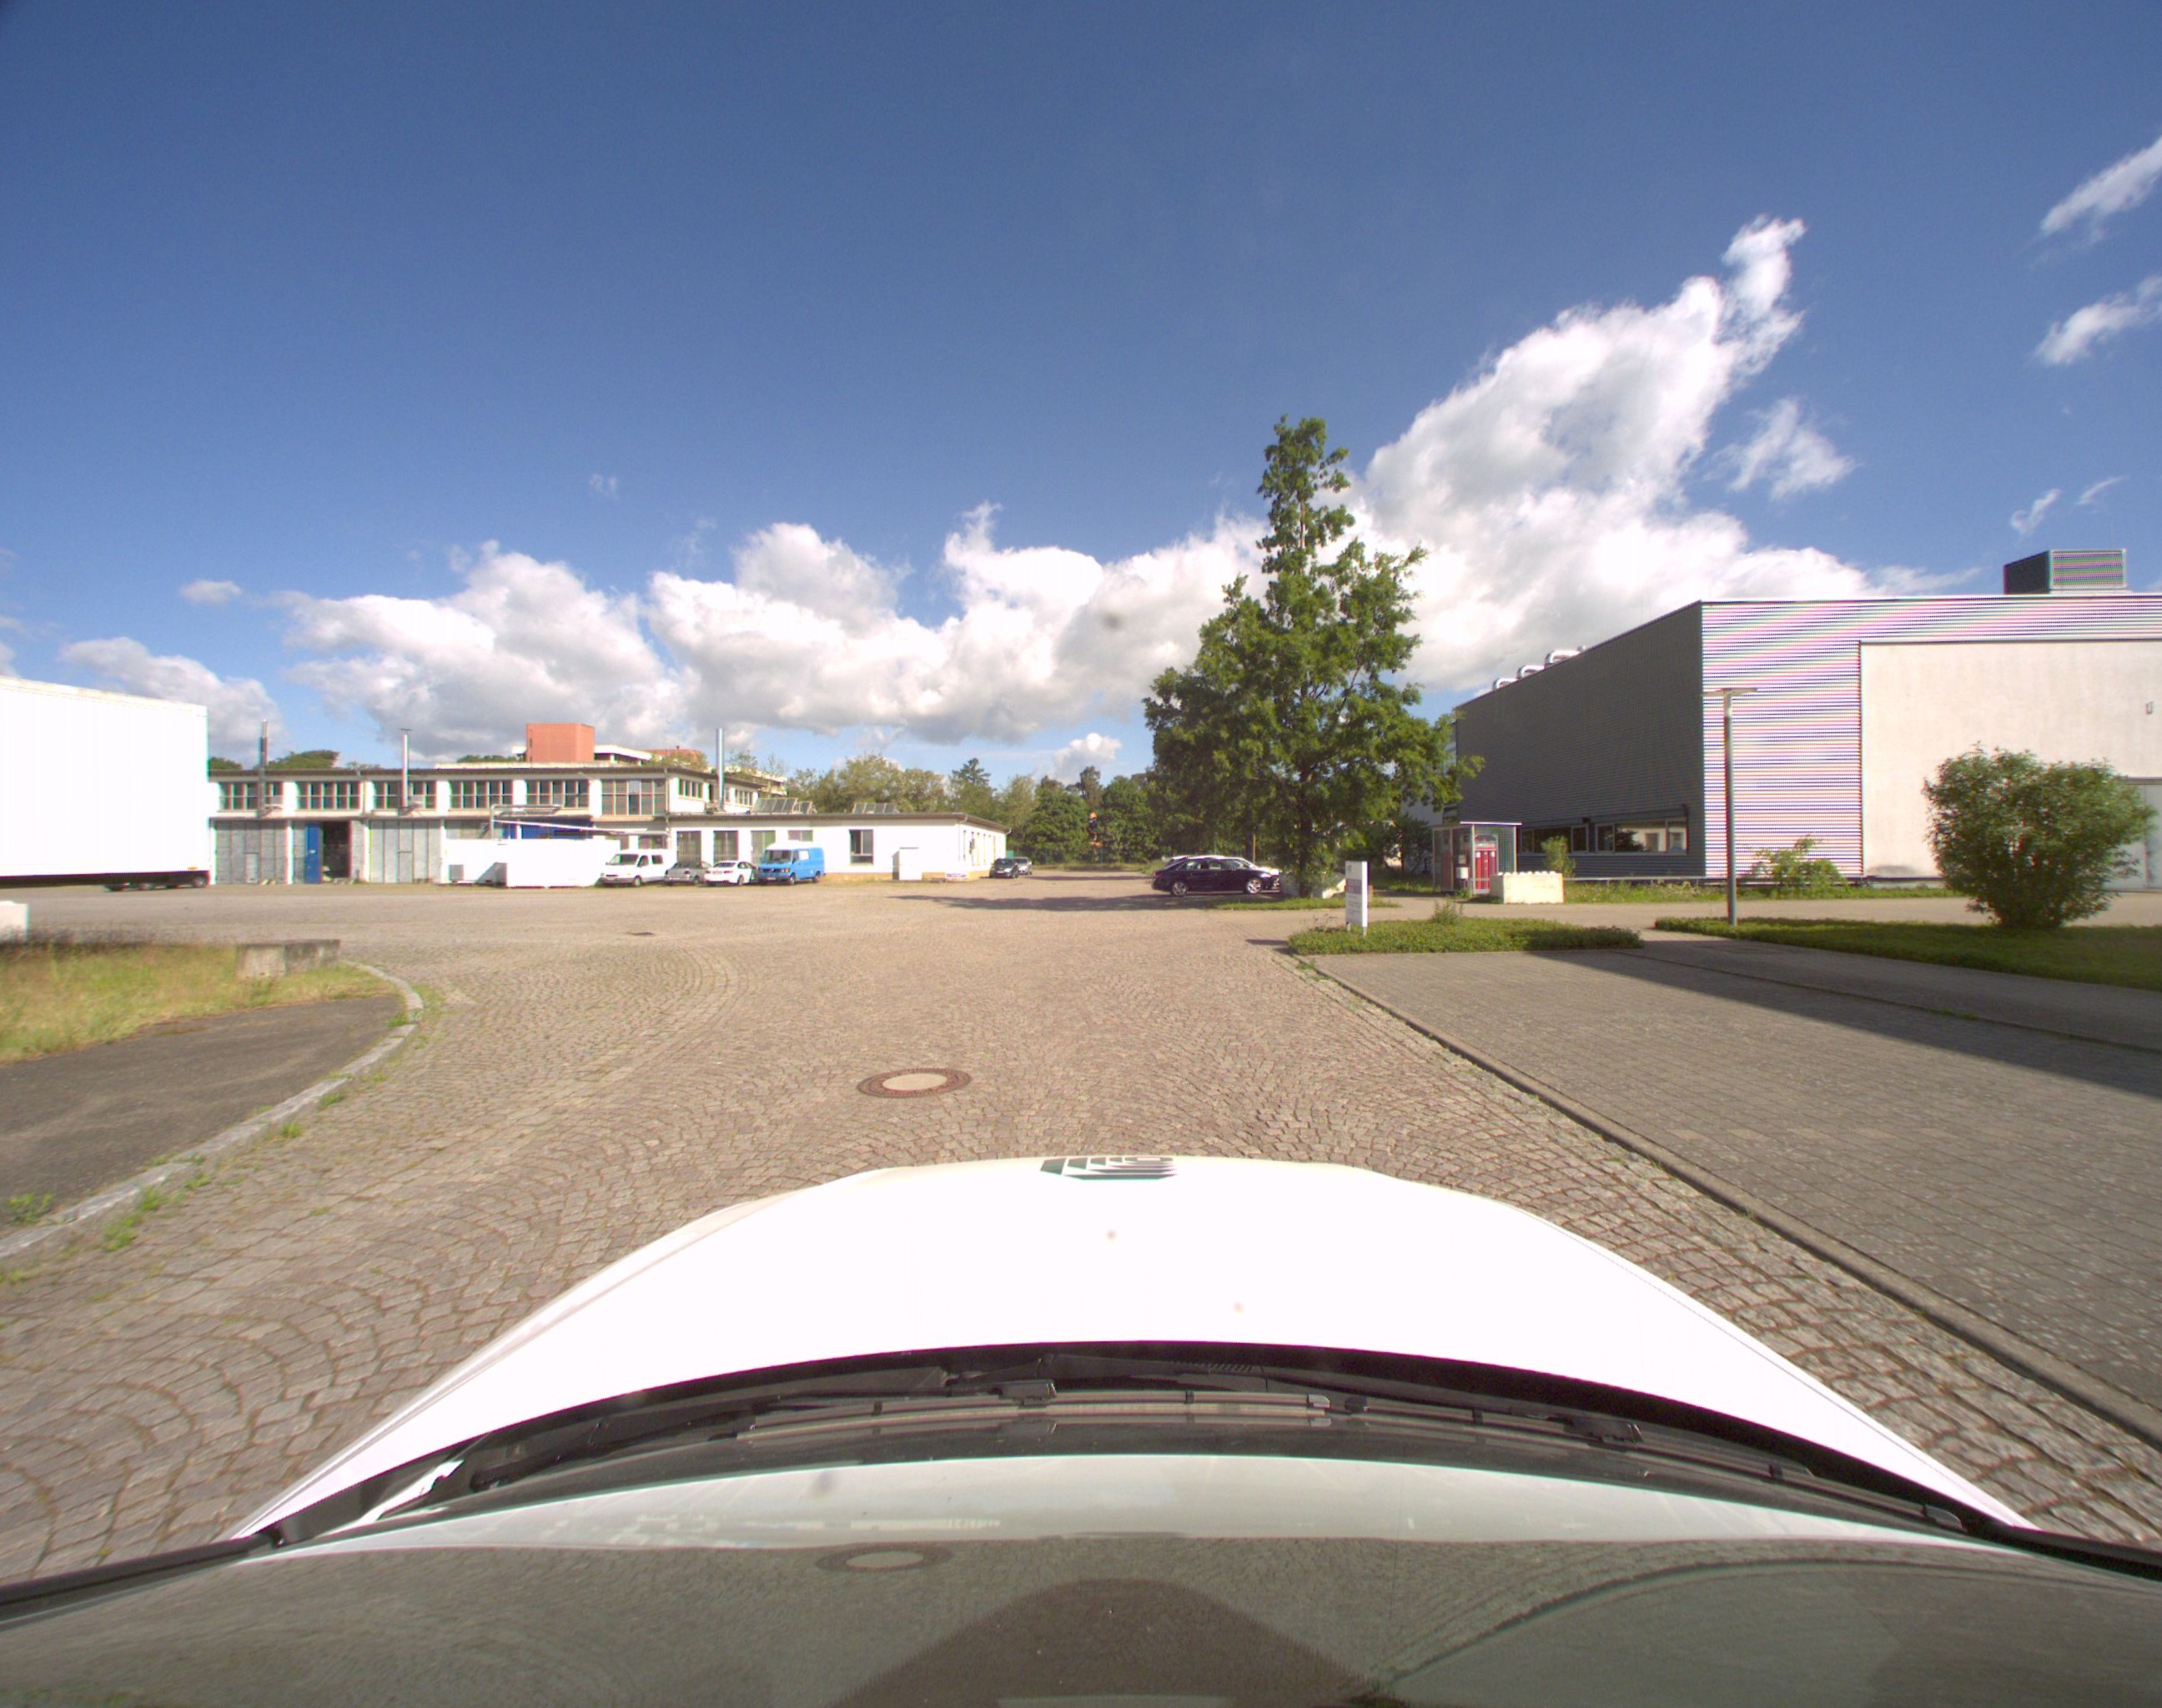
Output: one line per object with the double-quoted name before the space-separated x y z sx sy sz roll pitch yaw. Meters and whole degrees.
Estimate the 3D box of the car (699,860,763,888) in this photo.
"car" -19.612 1.097 45.796 1.724 1.405 3.744 -1 1 5

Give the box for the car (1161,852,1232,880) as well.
"car" 6.652 0.698 47.208 3.896 1.435 1.797 -2 0 2

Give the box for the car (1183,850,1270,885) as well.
"car" 6.936 0.638 39.098 3.896 1.446 1.757 -2 0 2

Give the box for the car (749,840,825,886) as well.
"car" -16.752 0.505 46.754 2.073 2.483 5.246 -1 0 5

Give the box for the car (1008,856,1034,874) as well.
"car" -5.032 0.923 68.306 1.680 1.435 3.989 0 0 3

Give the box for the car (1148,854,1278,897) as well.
"car" 5.018 0.793 31.383 4.702 1.423 1.757 -2 0 0

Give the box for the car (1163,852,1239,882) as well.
"car" 6.484 0.692 44.297 3.896 1.417 1.693 -2 0 2

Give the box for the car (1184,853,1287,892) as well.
"car" 6.398 0.752 34.080 4.116 1.460 1.695 -2 0 7

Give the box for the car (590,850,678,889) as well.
"car" -25.305 0.838 46.283 1.994 2.081 4.811 -1 0 5

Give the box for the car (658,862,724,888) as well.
"car" -22.360 1.167 46.822 1.679 1.398 3.836 0 0 5

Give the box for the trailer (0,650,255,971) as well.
"trailer" -14.722 -0.518 7.393 2.760 3.911 10.898 -1 0 4

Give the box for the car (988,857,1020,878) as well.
"car" -5.491 0.932 58.365 1.756 1.435 3.995 0 0 3
